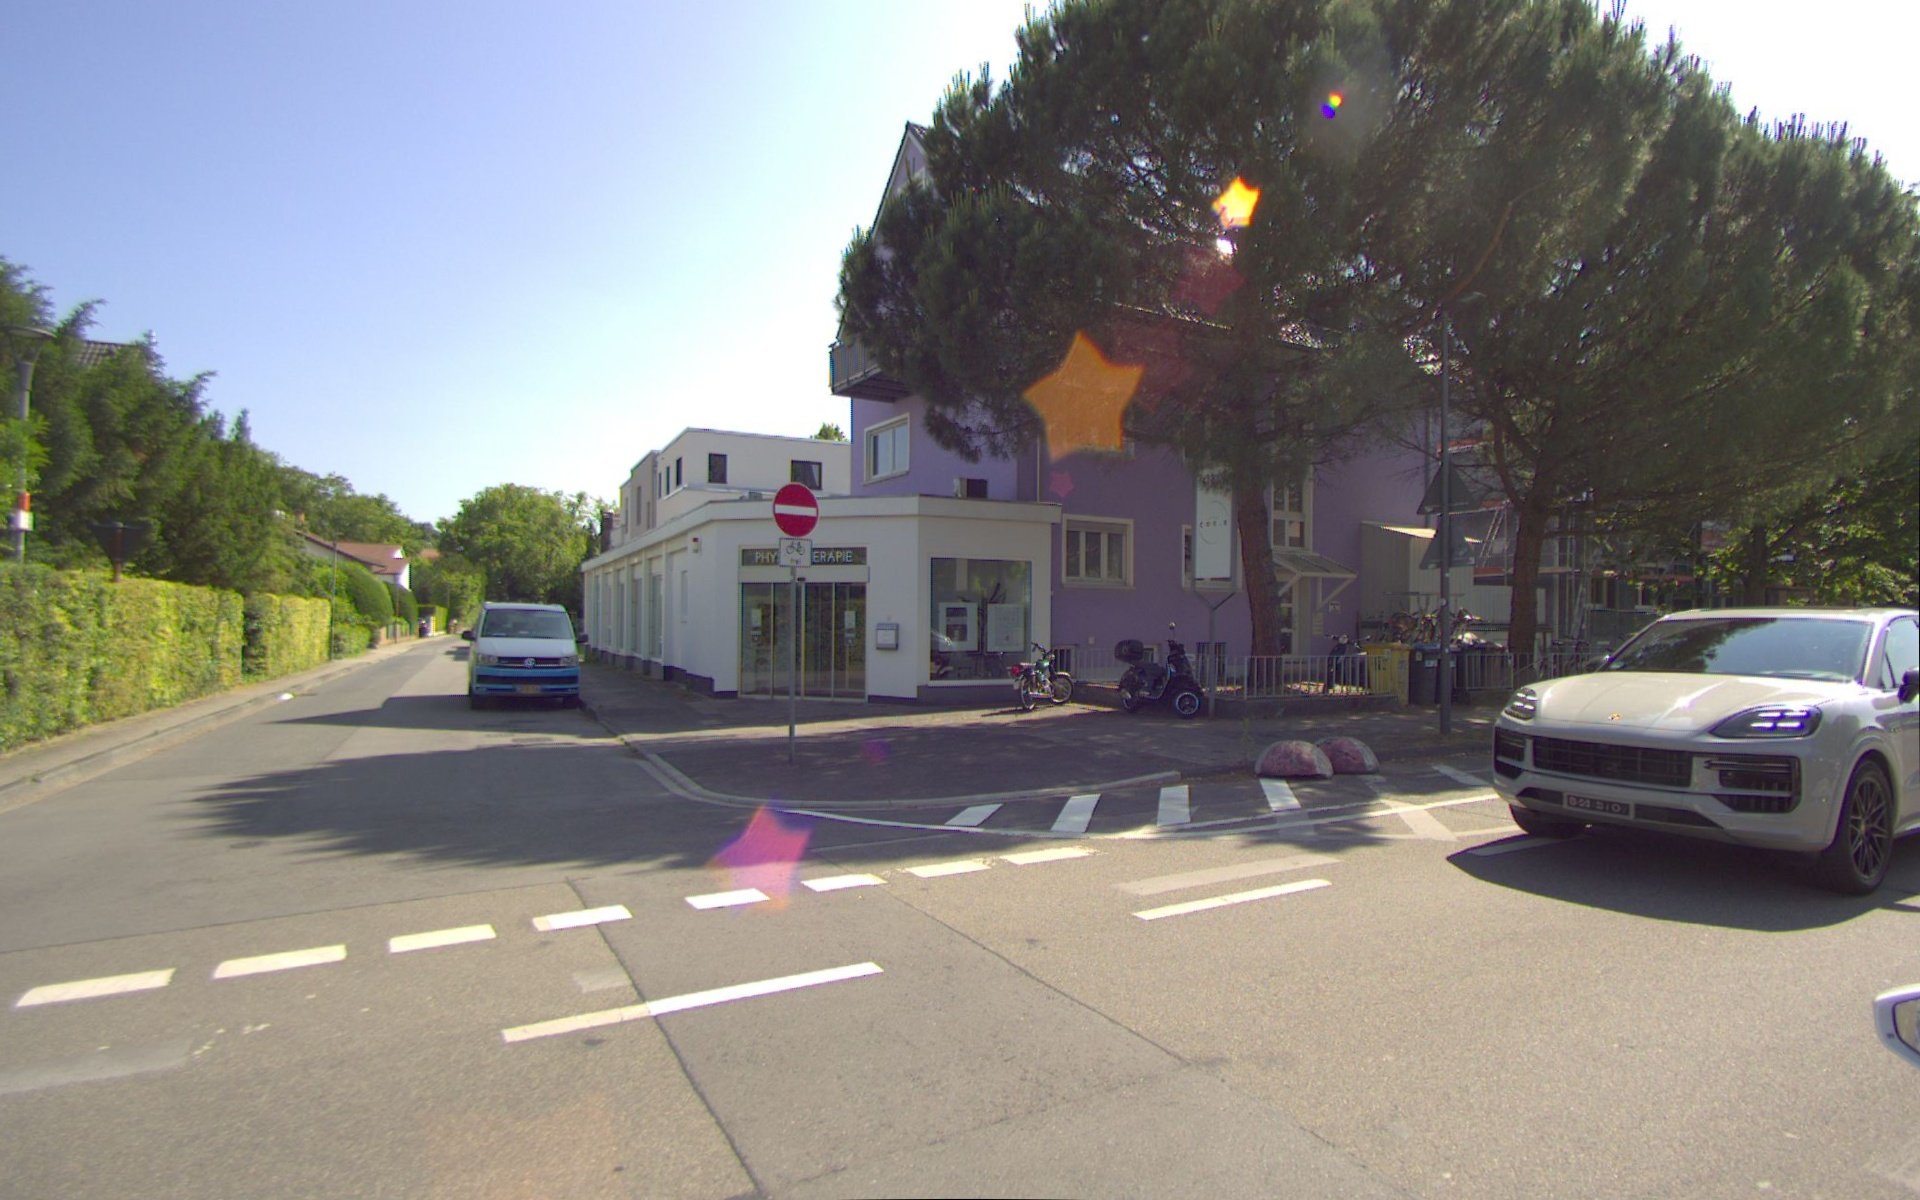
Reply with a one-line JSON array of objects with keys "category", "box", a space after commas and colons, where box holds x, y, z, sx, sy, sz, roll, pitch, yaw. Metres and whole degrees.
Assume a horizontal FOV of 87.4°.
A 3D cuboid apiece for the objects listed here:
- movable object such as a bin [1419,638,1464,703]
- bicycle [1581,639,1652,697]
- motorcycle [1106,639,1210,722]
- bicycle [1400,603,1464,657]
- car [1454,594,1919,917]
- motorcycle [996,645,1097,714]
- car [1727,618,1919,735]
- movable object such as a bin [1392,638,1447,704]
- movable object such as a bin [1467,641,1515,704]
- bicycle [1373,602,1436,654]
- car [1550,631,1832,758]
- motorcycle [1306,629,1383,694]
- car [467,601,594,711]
[{"category": "movable object such as a bin", "box": [8.669, 1.258, 18.092, 0.425, 1.126, 0.603, 2, -1, -25]}, {"category": "bicycle", "box": [13.622, 1.396, 20.823, 1.954, 1.161, 0.371, 2, -1, -30]}, {"category": "motorcycle", "box": [3.093, 1.234, 15.858, 0.634, 1.197, 1.833, 2, -1, -25]}, {"category": "bicycle", "box": [10.666, 0.681, 22.699, 1.427, 1.197, 0.535, 2, -1, -26]}, {"category": "car", "box": [5.866, 0.869, 7.279, 4.552, 1.679, 1.983, 1, -1, -31]}, {"category": "motorcycle", "box": [1.528, 1.327, 17.244, 0.632, 1.004, 2.348, 1, 1, 35]}, {"category": "car", "box": [14.672, 1.191, 16.618, 4.214, 1.699, 1.897, 2, -2, -34]}, {"category": "movable object such as a bin", "box": [8.153, 1.258, 17.832, 0.654, 1.126, 0.603, 2, -1, -25]}, {"category": "movable object such as a bin", "box": [9.878, 1.341, 18.688, 0.577, 1.126, 0.542, 2, -1, -25]}, {"category": "bicycle", "box": [10.361, 0.655, 23.410, 1.427, 1.197, 0.535, 1, -1, -26]}, {"category": "car", "box": [10.007, 1.182, 13.697, 4.041, 1.479, 1.771, 1, -2, -33]}, {"category": "motorcycle", "box": [7.337, 1.162, 19.176, 1.427, 1.197, 0.535, 2, -1, -26]}, {"category": "car", "box": [-8.579, 1.020, 19.847, 1.887, 1.913, 4.495, 2, -1, -28]}]
